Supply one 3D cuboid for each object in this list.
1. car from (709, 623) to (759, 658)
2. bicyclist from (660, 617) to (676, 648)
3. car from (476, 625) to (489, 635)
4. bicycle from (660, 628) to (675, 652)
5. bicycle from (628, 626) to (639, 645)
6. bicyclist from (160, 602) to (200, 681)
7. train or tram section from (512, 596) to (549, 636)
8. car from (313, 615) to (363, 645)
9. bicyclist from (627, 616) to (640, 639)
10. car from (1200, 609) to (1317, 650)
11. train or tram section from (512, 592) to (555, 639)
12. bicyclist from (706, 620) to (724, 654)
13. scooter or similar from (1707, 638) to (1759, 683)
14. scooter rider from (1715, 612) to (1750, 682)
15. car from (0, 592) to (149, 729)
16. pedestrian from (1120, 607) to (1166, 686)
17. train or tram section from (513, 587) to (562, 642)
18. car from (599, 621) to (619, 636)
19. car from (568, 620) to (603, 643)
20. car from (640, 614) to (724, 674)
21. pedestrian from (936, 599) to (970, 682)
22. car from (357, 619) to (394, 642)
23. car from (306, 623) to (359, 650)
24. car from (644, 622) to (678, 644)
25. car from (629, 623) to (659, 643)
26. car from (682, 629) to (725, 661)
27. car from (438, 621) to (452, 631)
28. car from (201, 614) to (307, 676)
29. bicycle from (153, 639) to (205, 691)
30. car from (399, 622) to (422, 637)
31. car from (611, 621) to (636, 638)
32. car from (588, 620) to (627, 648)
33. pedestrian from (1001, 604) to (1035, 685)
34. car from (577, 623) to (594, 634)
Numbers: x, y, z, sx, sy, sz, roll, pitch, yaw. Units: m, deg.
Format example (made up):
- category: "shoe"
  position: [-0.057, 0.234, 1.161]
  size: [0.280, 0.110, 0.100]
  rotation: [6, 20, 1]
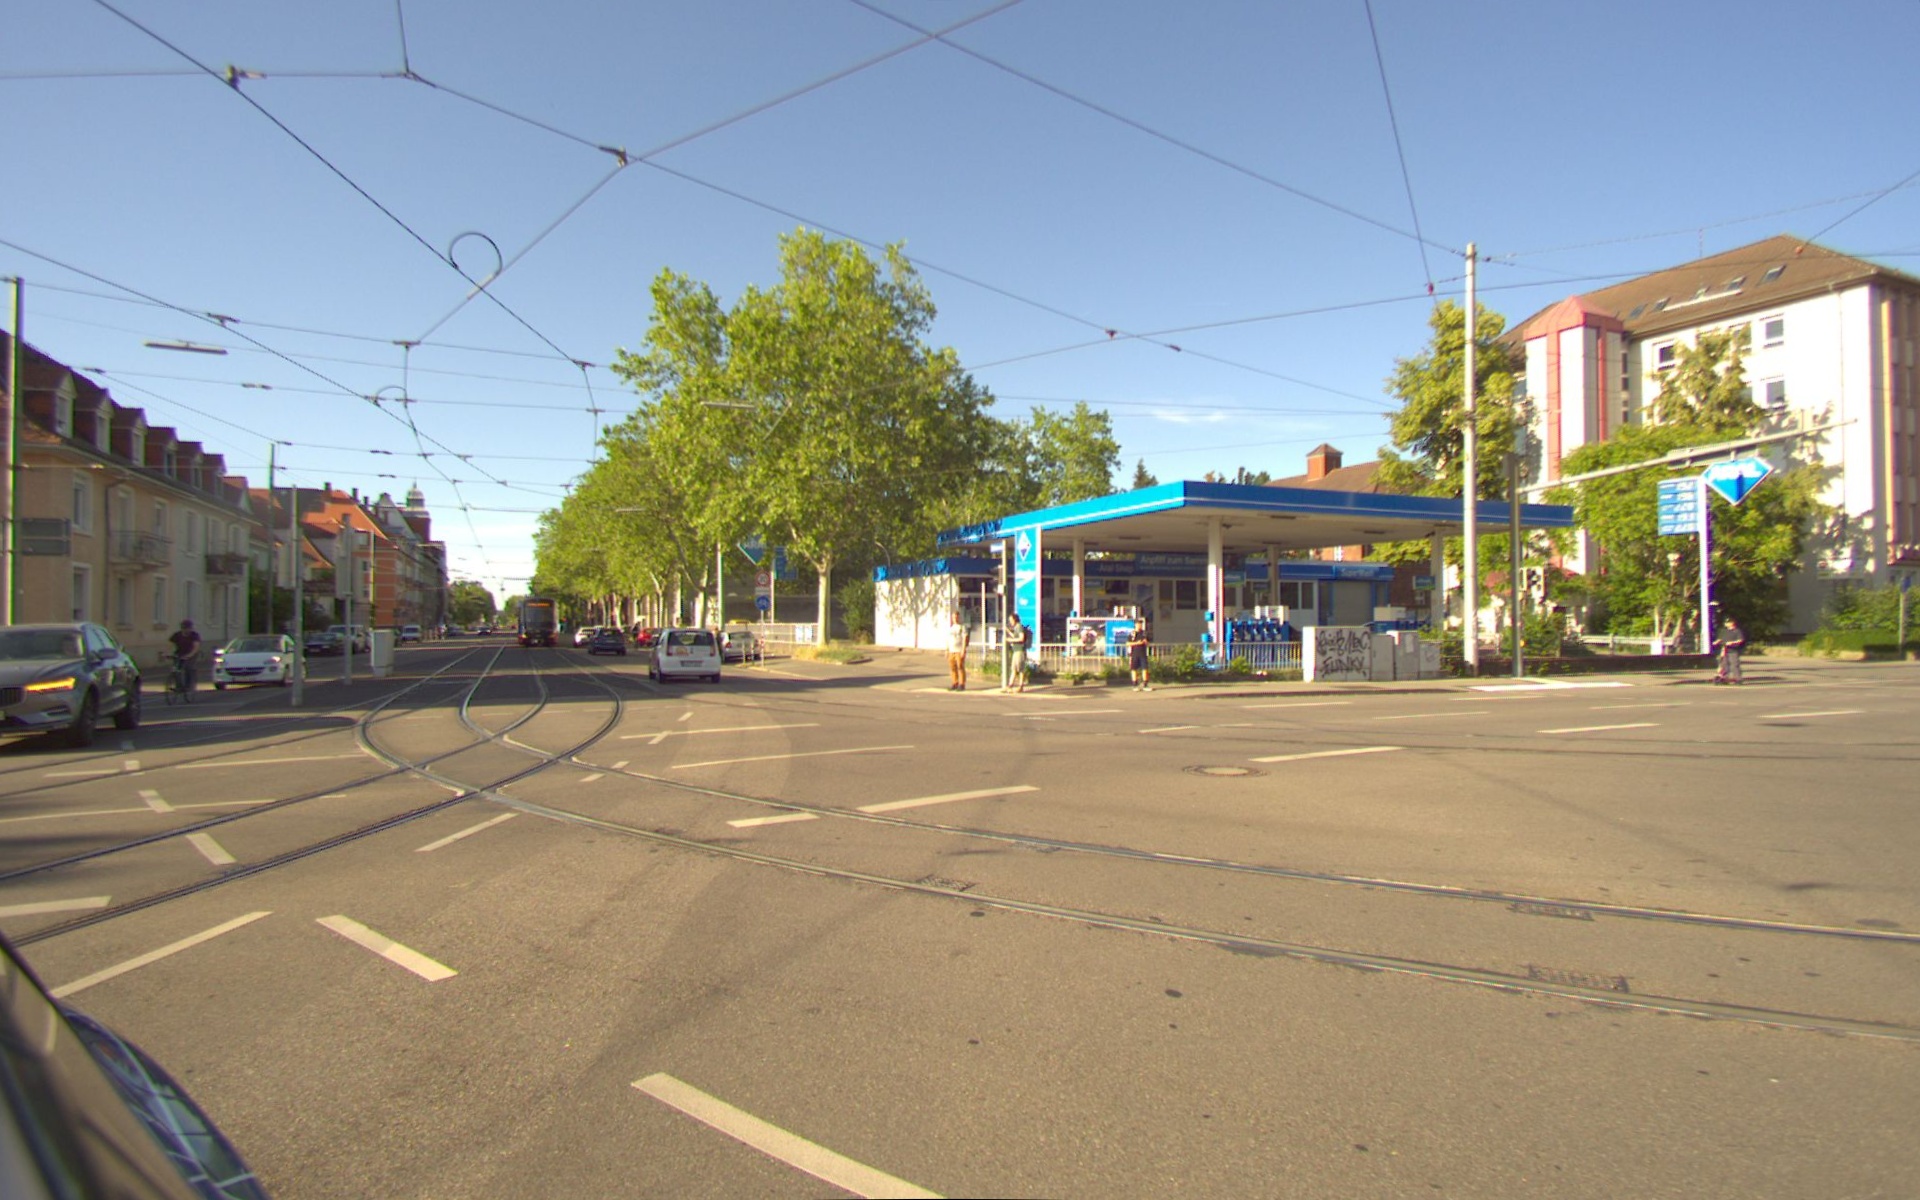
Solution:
- category: "car"
  position: [-10.389, 1.836, 46.446]
  size: [1.750, 1.435, 3.549]
  rotation: [-3, 0, -20]
- category: "bicyclist"
  position: [-15.311, 1.710, 53.130]
  size: [0.686, 1.583, 0.894]
  rotation: [0, -1, -24]
- category: "car"
  position: [-76.693, 4.764, 162.385]
  size: [1.851, 1.497, 4.013]
  rotation: [0, -1, -25]
- category: "bicycle"
  position: [-15.322, 2.088, 53.045]
  size: [0.478, 1.175, 2.063]
  rotation: [0, -1, -24]
- category: "bicycle"
  position: [-21.621, 2.342, 66.950]
  size: [0.478, 1.175, 2.063]
  rotation: [0, -1, -24]
- category: "bicyclist"
  position: [-17.257, 0.908, 22.399]
  size: [0.590, 1.732, 0.665]
  rotation: [1, -1, -29]
- category: "train or tram section"
  position: [-40.983, 1.545, 96.340]
  size: [3.012, 3.640, 12.154]
  rotation: [0, -1, -24]
- category: "car"
  position: [-39.340, 1.868, 64.095]
  size: [1.901, 1.859, 5.330]
  rotation: [0, -1, -23]
- category: "bicyclist"
  position: [-21.630, 1.817, 67.035]
  size: [0.704, 1.571, 0.990]
  rotation: [0, -1, -24]
- category: "car"
  position: [11.417, 1.119, 38.729]
  size: [4.146, 1.497, 1.723]
  rotation: [0, -1, -24]
- category: "train or tram section"
  position: [-35.962, 1.302, 85.060]
  size: [3.012, 3.640, 12.543]
  rotation: [0, -1, -24]
- category: "bicyclist"
  position: [-9.929, 1.503, 40.988]
  size: [0.595, 1.350, 0.900]
  rotation: [0, -1, -21]
- category: "scooter or similar"
  position: [21.393, 1.662, 27.993]
  size: [1.451, 1.191, 0.466]
  rotation: [0, -1, -23]
- category: "scooter rider"
  position: [21.379, 1.294, 28.003]
  size: [0.680, 1.915, 0.466]
  rotation: [0, -1, -23]
- category: "car"
  position: [-12.930, 0.769, 13.986]
  size: [1.886, 1.643, 4.517]
  rotation: [0, -1, -28]
- category: "pedestrian"
  position: [4.192, 1.048, 23.196]
  size: [0.736, 1.742, 0.735]
  rotation: [-3, -1, -9]
- category: "train or tram section"
  position: [-30.927, 1.104, 73.779]
  size: [3.012, 3.640, 12.154]
  rotation: [0, -1, -24]
- category: "car"
  position: [-38.355, 3.075, 110.516]
  size: [1.851, 1.563, 4.013]
  rotation: [0, -1, -22]
- category: "car"
  position: [-26.468, 2.189, 71.433]
  size: [1.965, 1.508, 4.361]
  rotation: [3, -2, -25]
- category: "car"
  position: [-7.652, 1.152, 27.696]
  size: [1.693, 1.508, 3.595]
  rotation: [0, -1, -24]
- category: "pedestrian"
  position: [-0.175, 0.942, 23.900]
  size: [0.620, 1.940, 0.586]
  rotation: [0, -1, -23]
- category: "car"
  position: [-47.002, 2.405, 81.460]
  size: [1.901, 1.773, 5.330]
  rotation: [0, -1, -23]
- category: "car"
  position: [-36.787, 2.097, 59.393]
  size: [1.851, 1.497, 4.013]
  rotation: [0, -1, -20]
- category: "car"
  position: [-20.947, 2.288, 70.865]
  size: [1.851, 1.497, 4.013]
  rotation: [0, -1, -22]
- category: "car"
  position: [-24.852, 2.570, 79.536]
  size: [1.851, 1.497, 4.013]
  rotation: [0, -1, -22]
- category: "car"
  position: [-13.273, 2.303, 52.256]
  size: [1.750, 1.435, 3.321]
  rotation: [-3, 0, -20]
- category: "car"
  position: [-81.992, 4.167, 161.232]
  size: [1.851, 1.497, 4.013]
  rotation: [0, -1, -25]
- category: "car"
  position: [-20.401, 1.257, 29.429]
  size: [1.886, 1.643, 4.517]
  rotation: [0, -1, -26]
- category: "bicycle"
  position: [-17.256, 1.419, 22.399]
  size: [0.590, 1.064, 1.996]
  rotation: [1, -1, -29]
- category: "car"
  position: [-56.257, 2.956, 103.662]
  size: [1.851, 1.497, 4.013]
  rotation: [0, -1, -25]
- category: "car"
  position: [-31.213, 2.710, 93.827]
  size: [1.851, 1.588, 4.013]
  rotation: [0, -1, -22]
- category: "car"
  position: [-19.370, 1.836, 55.534]
  size: [1.749, 1.508, 4.588]
  rotation: [0, -1, -22]
- category: "pedestrian"
  position: [1.314, 1.007, 23.198]
  size: [0.732, 1.815, 0.741]
  rotation: [0, -1, 1]
- category: "car"
  position: [-55.063, 4.133, 148.681]
  size: [1.851, 1.563, 4.013]
  rotation: [0, -1, -27]
